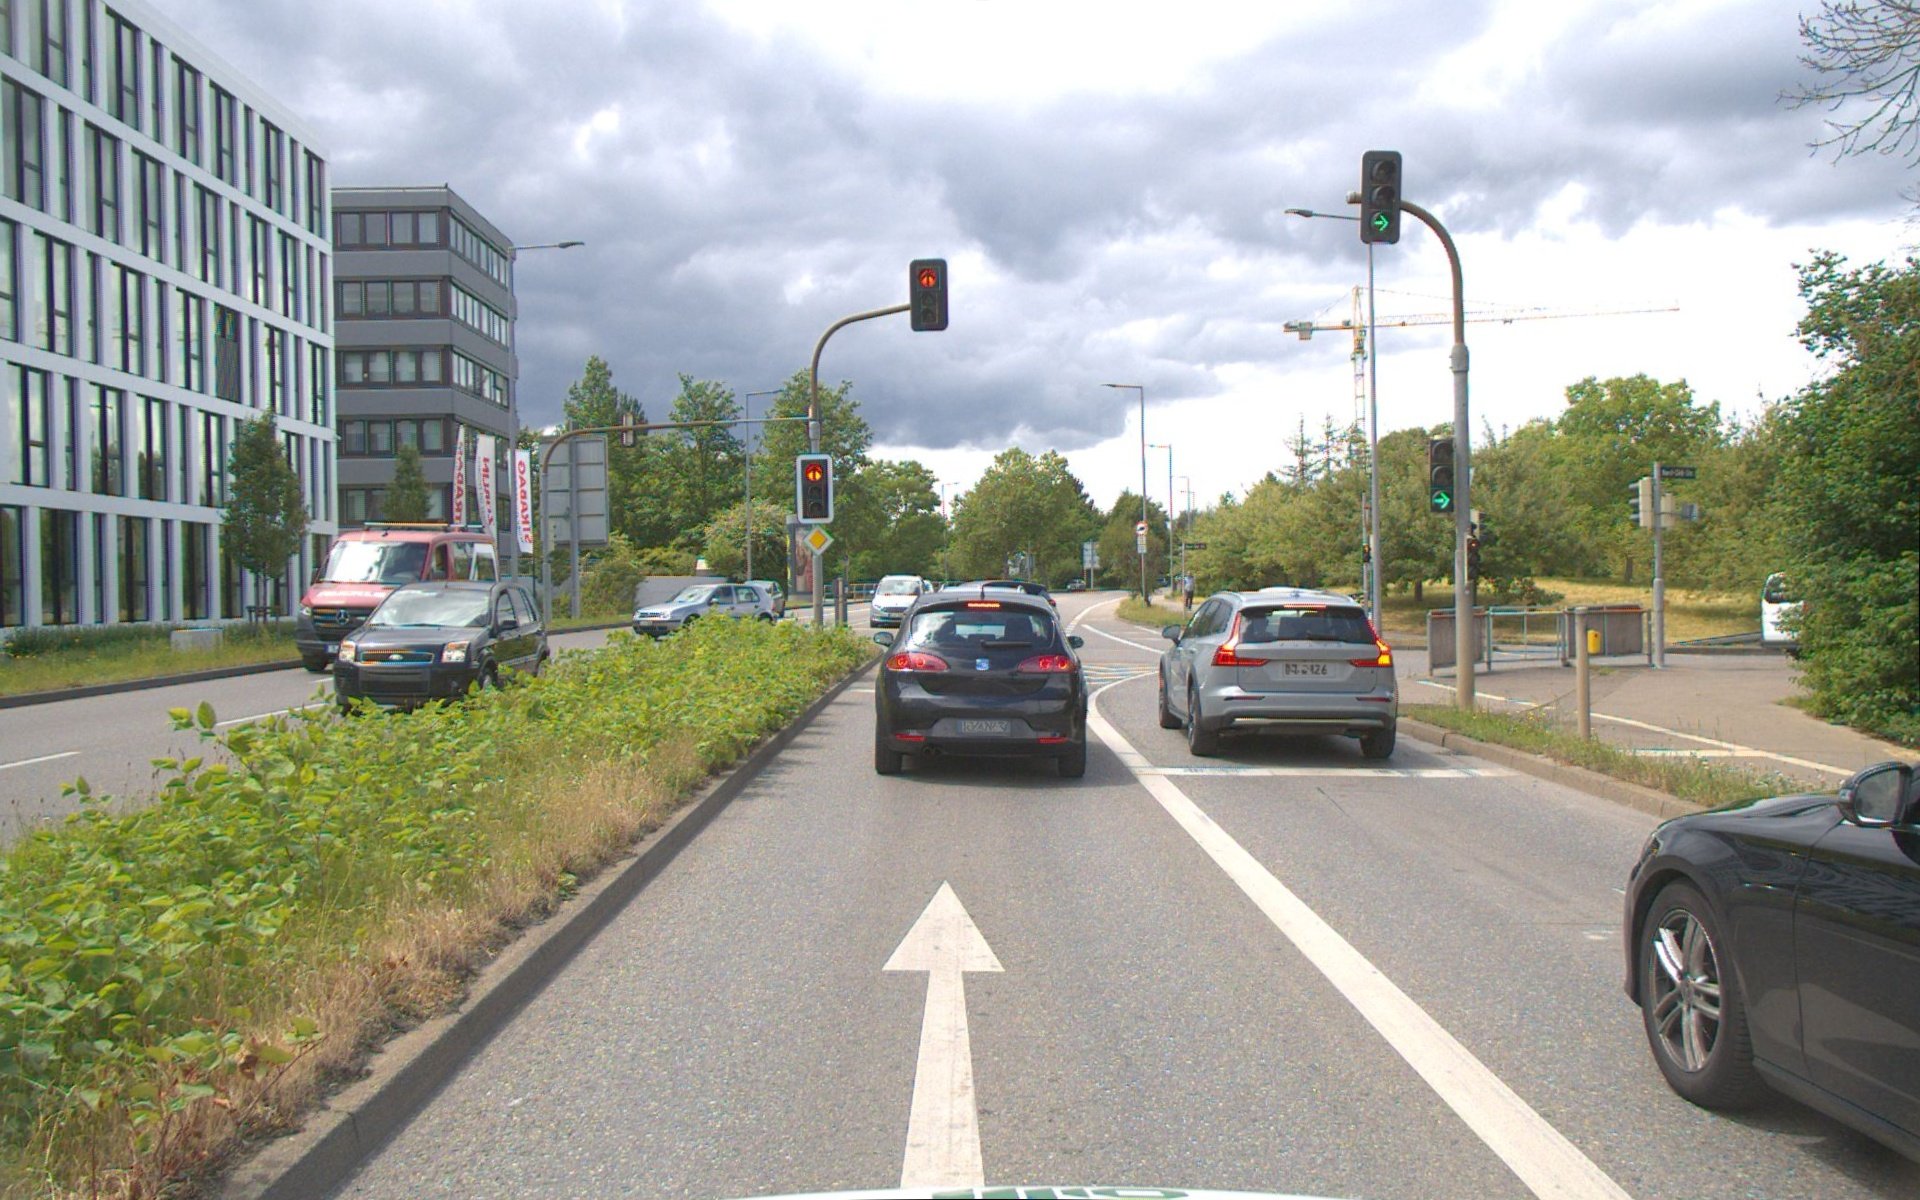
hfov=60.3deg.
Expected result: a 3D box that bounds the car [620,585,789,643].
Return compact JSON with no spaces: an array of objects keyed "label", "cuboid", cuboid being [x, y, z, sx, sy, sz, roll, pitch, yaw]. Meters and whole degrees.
[{"label":"car","cuboid":[-6.547,0.317,42.641,1.965,1.378,3.975,0,1,43]}]

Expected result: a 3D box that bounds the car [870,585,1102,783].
[{"label":"car","cuboid":[0.187,0.620,14.302,1.737,1.477,3.582,1,1,0]}]

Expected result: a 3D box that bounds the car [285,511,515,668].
[{"label":"car","cuboid":[-9.529,-0.185,28.669,1.952,2.454,5.243,-1,0,3]}]

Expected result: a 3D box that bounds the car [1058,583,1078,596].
[{"label":"car","cuboid":[12.201,-1.178,186.232,1.951,1.375,4.003,0,1,8]}]

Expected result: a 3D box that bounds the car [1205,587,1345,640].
[{"label":"car","cuboid":[9.699,0.392,50.890,3.907,1.557,1.999,0,1,24]}]

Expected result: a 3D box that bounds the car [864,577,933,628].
[{"label":"car","cuboid":[-2.019,0.049,55.561,1.952,1.624,4.002,0,1,3]}]

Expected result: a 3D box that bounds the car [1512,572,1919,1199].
[{"label":"car","cuboid":[3.114,0.670,3.572,1.835,1.466,5.196,-1,1,-3]}]

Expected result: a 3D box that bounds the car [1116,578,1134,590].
[{"label":"car","cuboid":[19.139,-1.882,191.541,1.951,1.375,4.003,0,1,8]}]

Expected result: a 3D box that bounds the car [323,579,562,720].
[{"label":"car","cuboid":[-6.047,0.507,19.791,1.644,1.508,4.000,0,1,-1]}]

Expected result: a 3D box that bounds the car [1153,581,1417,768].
[{"label":"car","cuboid":[3.016,0.609,16.257,1.824,1.544,4.448,-1,1,2]}]

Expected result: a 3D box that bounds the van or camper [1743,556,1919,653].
[{"label":"van or camper","cuboid":[18.910,0.063,33.876,4.828,1.892,1.999,-1,0,-3]}]

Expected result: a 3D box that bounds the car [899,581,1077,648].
[{"label":"car","cuboid":[0.687,0.320,40.544,3.940,1.543,1.924,-1,1,-27]}]

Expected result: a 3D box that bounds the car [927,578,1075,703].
[{"label":"car","cuboid":[0.472,0.478,22.246,1.737,1.517,3.580,-1,1,-3]}]

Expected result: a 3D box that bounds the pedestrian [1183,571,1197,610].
[{"label":"pedestrian","cuboid":[10.517,-0.448,75.575,0.547,1.756,0.588,1,0,0]}]

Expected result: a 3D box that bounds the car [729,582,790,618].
[{"label":"car","cuboid":[-7.917,-0.021,65.674,1.953,1.375,4.000,0,1,0]}]
